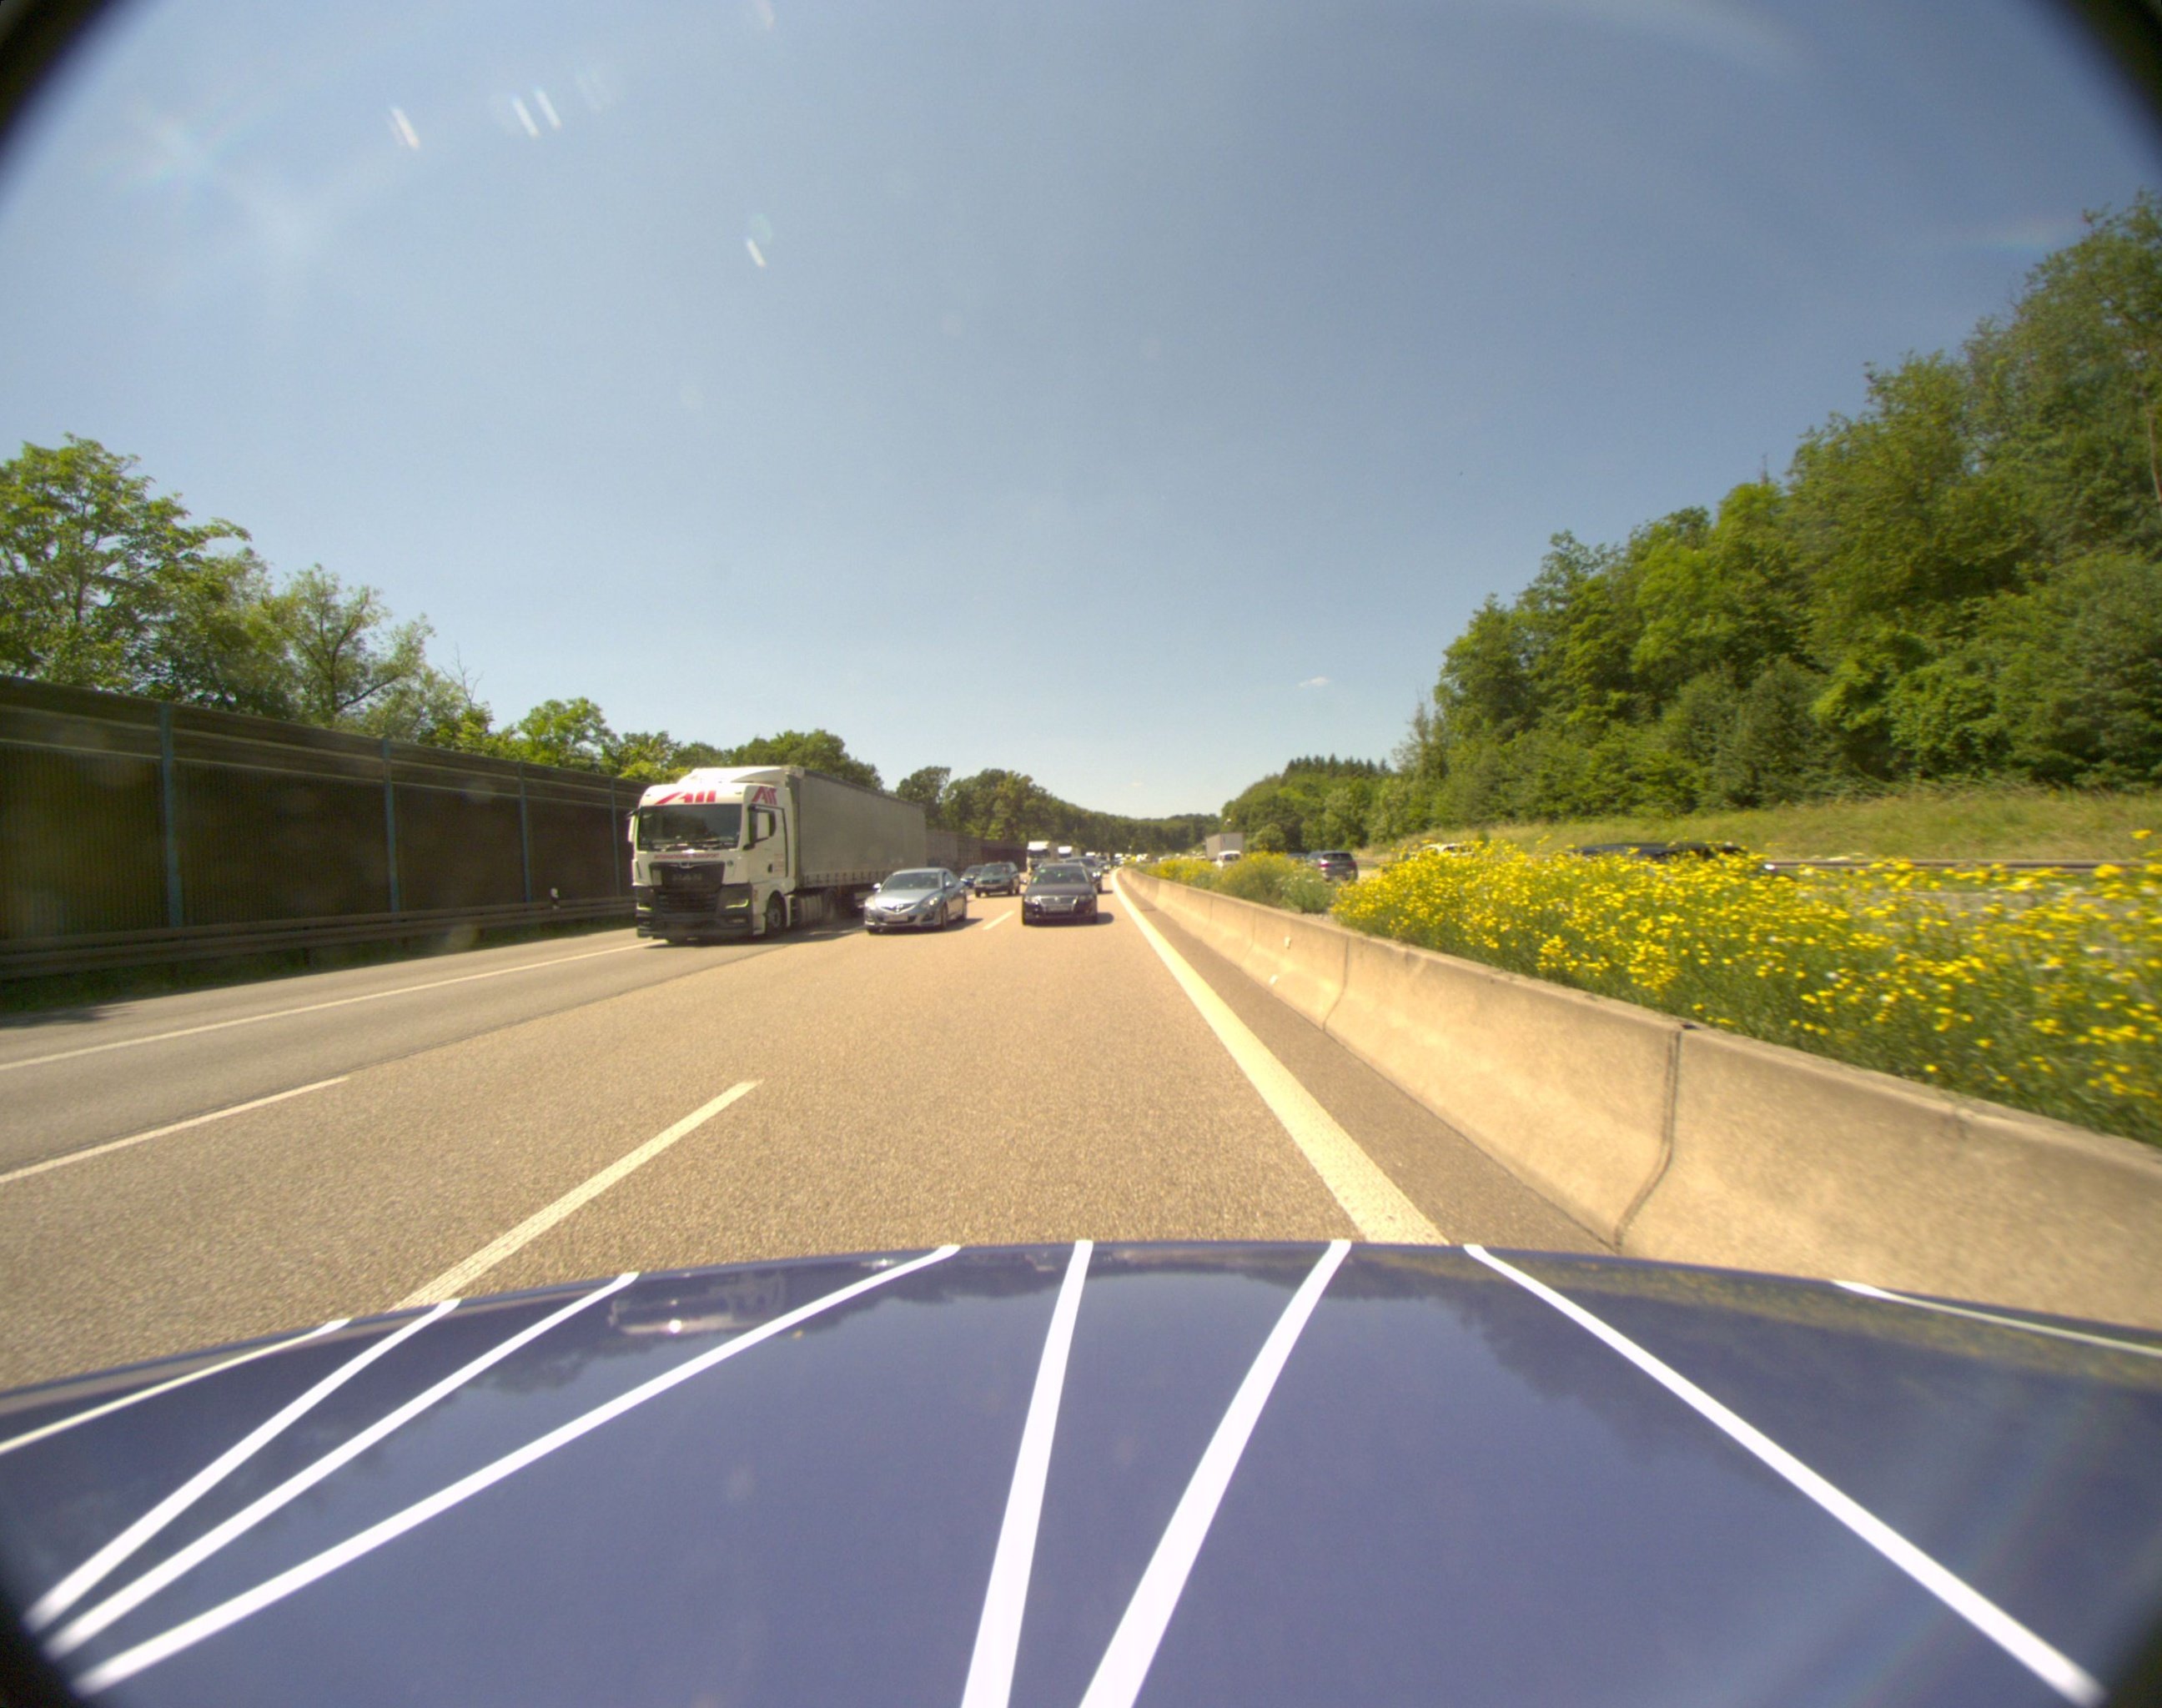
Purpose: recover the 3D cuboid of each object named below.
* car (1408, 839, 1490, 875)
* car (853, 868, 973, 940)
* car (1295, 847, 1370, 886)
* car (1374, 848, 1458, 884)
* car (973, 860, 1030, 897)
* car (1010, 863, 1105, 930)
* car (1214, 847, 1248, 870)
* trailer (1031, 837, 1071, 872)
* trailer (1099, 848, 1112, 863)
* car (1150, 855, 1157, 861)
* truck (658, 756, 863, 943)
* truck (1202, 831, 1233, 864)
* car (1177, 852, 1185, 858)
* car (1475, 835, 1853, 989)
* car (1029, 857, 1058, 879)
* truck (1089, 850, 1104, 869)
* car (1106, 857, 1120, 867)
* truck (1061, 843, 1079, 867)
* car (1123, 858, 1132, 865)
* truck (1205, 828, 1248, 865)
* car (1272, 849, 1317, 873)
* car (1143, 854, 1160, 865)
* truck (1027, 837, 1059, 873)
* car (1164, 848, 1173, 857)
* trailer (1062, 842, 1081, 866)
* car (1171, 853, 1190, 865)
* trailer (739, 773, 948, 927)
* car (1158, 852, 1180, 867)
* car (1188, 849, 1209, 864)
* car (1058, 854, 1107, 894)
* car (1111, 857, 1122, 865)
[{"bbox_3d":[19.045,0.159,39.578,1.998,1.682,4.767,-2,0,1],"label":"car"},{"bbox_3d":[-3.928,1.126,18.547,1.860,1.426,4.177,-2,0,1],"label":"car"},{"bbox_3d":[11.139,0.521,33.947,1.998,1.563,4.065,-2,0,1],"label":"car"},{"bbox_3d":[14.841,0.491,33.901,1.998,1.435,4.007,-2,0,1],"label":"car"},{"bbox_3d":[-3.623,1.089,35.362,1.907,1.550,4.002,-2,0,4],"label":"car"},{"bbox_3d":[-0.463,0.978,19.038,1.907,1.410,4.002,-2,0,4],"label":"car"},{"bbox_3d":[11.956,0.347,60.885,1.889,1.745,4.277,-2,0,1],"label":"car"},{"bbox_3d":[-3.739,0.137,100.090,2.820,4.190,13.473,-2,0,8],"label":"trailer"},{"bbox_3d":[7.292,0.432,226.075,3.154,4.061,6.186,-2,0,8],"label":"trailer"},{"bbox_3d":[21.246,1.181,222.950,1.998,1.713,4.357,-2,0,2],"label":"car"},{"bbox_3d":[-7.907,-0.102,19.615,2.604,4.066,5.553,-2,0,2],"label":"truck"},{"bbox_3d":[17.149,-0.751,95.700,2.836,3.916,6.007,-2,0,2],"label":"truck"},{"bbox_3d":[26.809,0.177,203.657,1.844,1.444,4.001,-2,0,2],"label":"car"},{"bbox_3d":[6.913,0.586,9.663,1.741,1.489,4.000,-2,0,1],"label":"car"},{"bbox_3d":[-2.992,1.123,61.288,1.998,1.641,4.000,-2,0,1],"label":"car"},{"bbox_3d":[3.923,1.383,190.515,2.852,4.381,5.243,-2,0,8],"label":"truck"},{"bbox_3d":[5.479,1.381,129.738,1.997,1.641,4.002,-2,0,6],"label":"car"},{"bbox_3d":[-1.940,0.170,132.754,2.545,4.149,4.747,-2,0,4],"label":"truck"},{"bbox_3d":[11.182,1.801,182.838,1.997,1.641,4.002,-2,0,6],"label":"car"},{"bbox_3d":[16.928,-0.826,89.551,2.835,3.915,13.747,-2,0,2],"label":"truck"},{"bbox_3d":[14.673,0.462,52.427,1.998,1.483,4.000,-2,0,1],"label":"car"},{"bbox_3d":[9.615,0.726,103.888,1.998,1.333,4.248,-2,0,1],"label":"car"},{"bbox_3d":[-4.648,0.101,93.329,2.810,4.190,5.424,-2,0,8],"label":"truck"},{"bbox_3d":[27.268,-0.393,237.237,2.221,2.685,6.063,-2,0,3],"label":"car"},{"bbox_3d":[-1.633,0.073,137.385,2.542,4.149,10.179,-2,0,4],"label":"trailer"},{"bbox_3d":[13.187,0.681,100.857,1.998,1.489,4.248,-2,0,1],"label":"car"},{"bbox_3d":[-7.613,-0.130,27.318,2.604,4.066,13.593,-2,0,2],"label":"trailer"},{"bbox_3d":[9.655,0.615,83.900,1.943,1.494,4.659,-2,0,1],"label":"car"},{"bbox_3d":[12.574,0.263,81.349,1.679,1.489,3.883,-2,0,1],"label":"car"},{"bbox_3d":[0.134,0.877,34.549,1.998,1.641,4.001,-2,0,3],"label":"car"},{"bbox_3d":[7.383,1.505,159.428,1.997,1.641,4.002,-2,0,6],"label":"car"}]
